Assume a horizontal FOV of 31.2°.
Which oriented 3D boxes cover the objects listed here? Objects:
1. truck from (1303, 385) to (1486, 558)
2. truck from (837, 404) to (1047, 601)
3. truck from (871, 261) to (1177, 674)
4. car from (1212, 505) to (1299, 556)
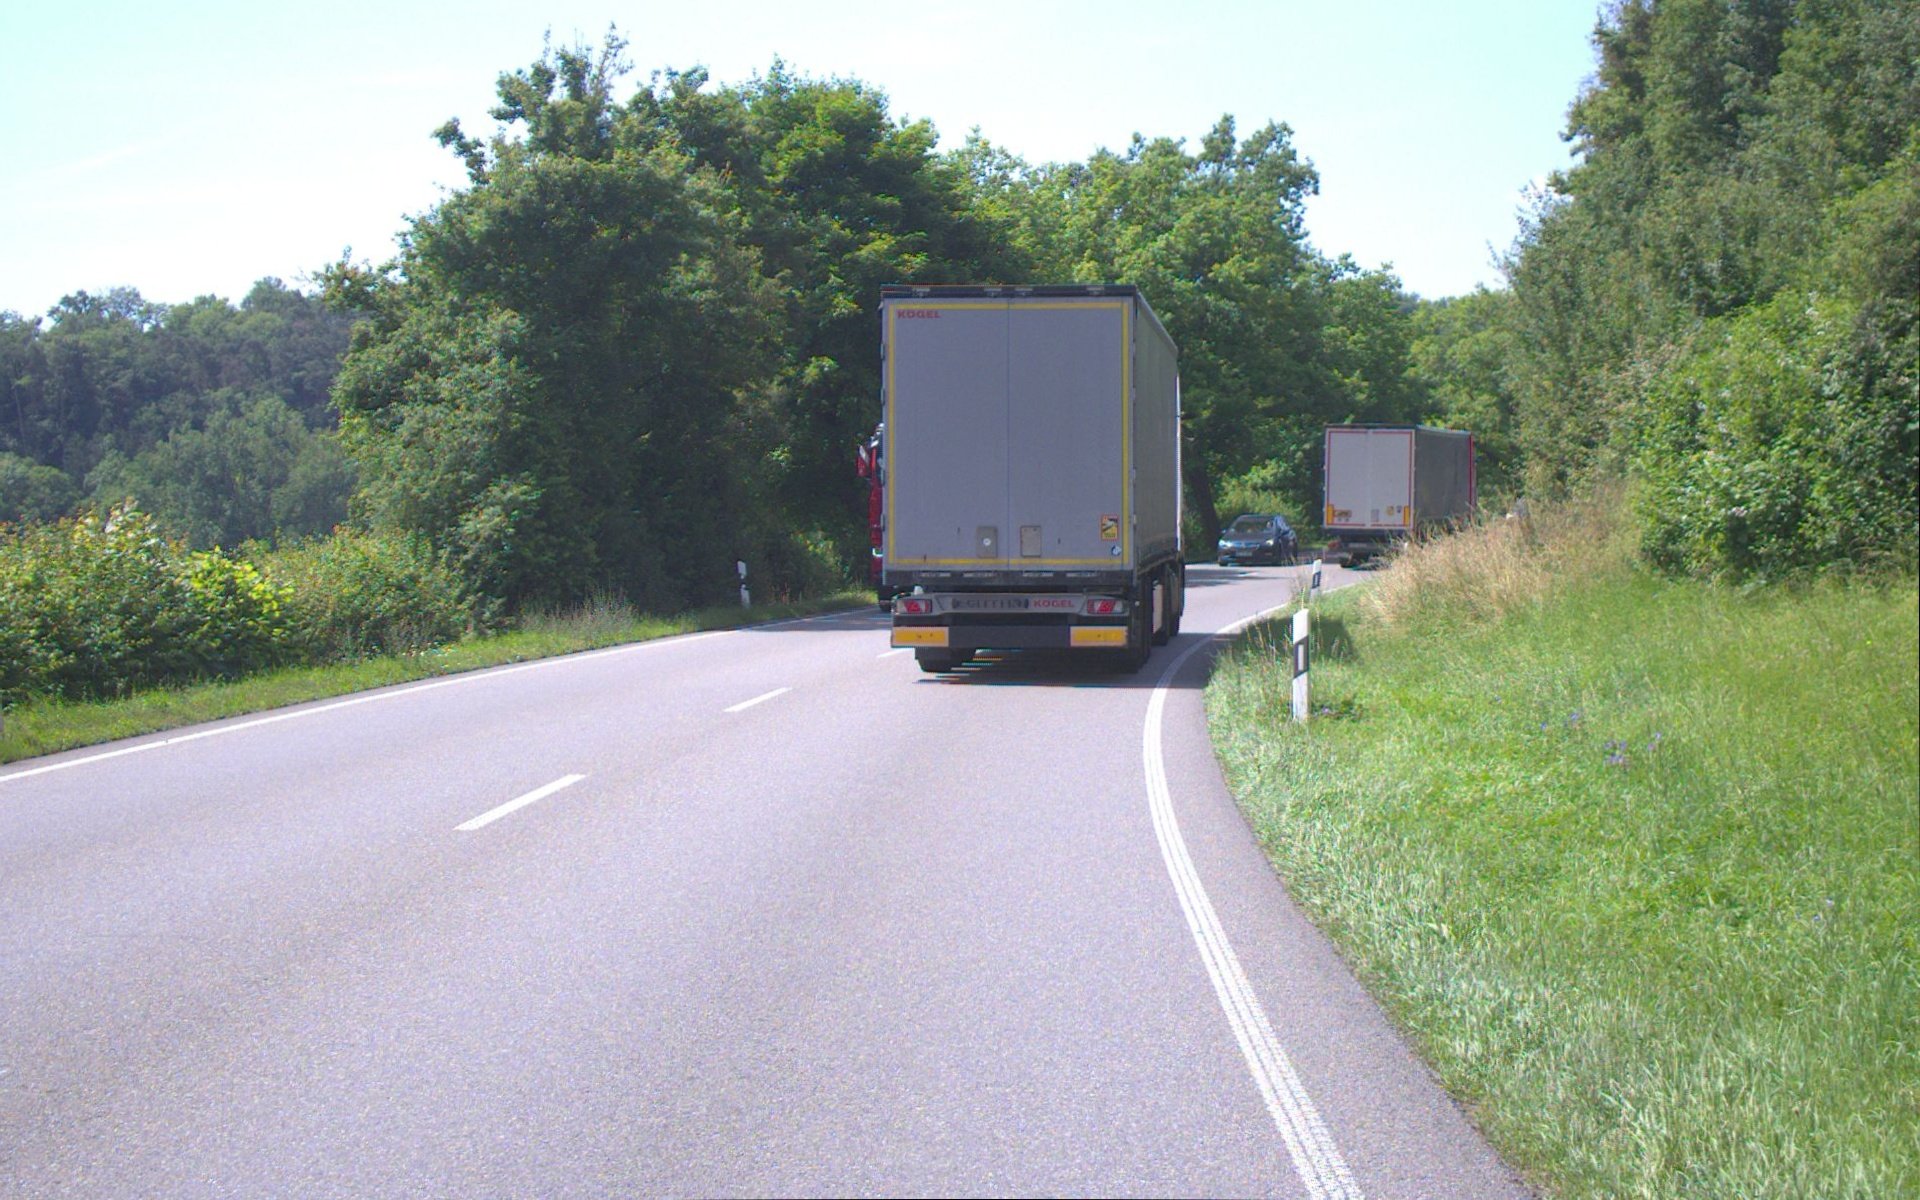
[{"bbox_3d":[13.164,-3.893,102.480,3.107,4.689,16.579,-1,2,15],"label":"truck"},{"bbox_3d":[-0.161,-1.840,66.402,2.553,3.440,12.632,0,1,7],"label":"truck"},{"bbox_3d":[1.110,-1.460,41.567,2.802,4.054,15.324,0,1,4],"label":"truck"},{"bbox_3d":[8.730,-2.054,101.263,1.711,1.466,4.372,0,1,16],"label":"car"}]
